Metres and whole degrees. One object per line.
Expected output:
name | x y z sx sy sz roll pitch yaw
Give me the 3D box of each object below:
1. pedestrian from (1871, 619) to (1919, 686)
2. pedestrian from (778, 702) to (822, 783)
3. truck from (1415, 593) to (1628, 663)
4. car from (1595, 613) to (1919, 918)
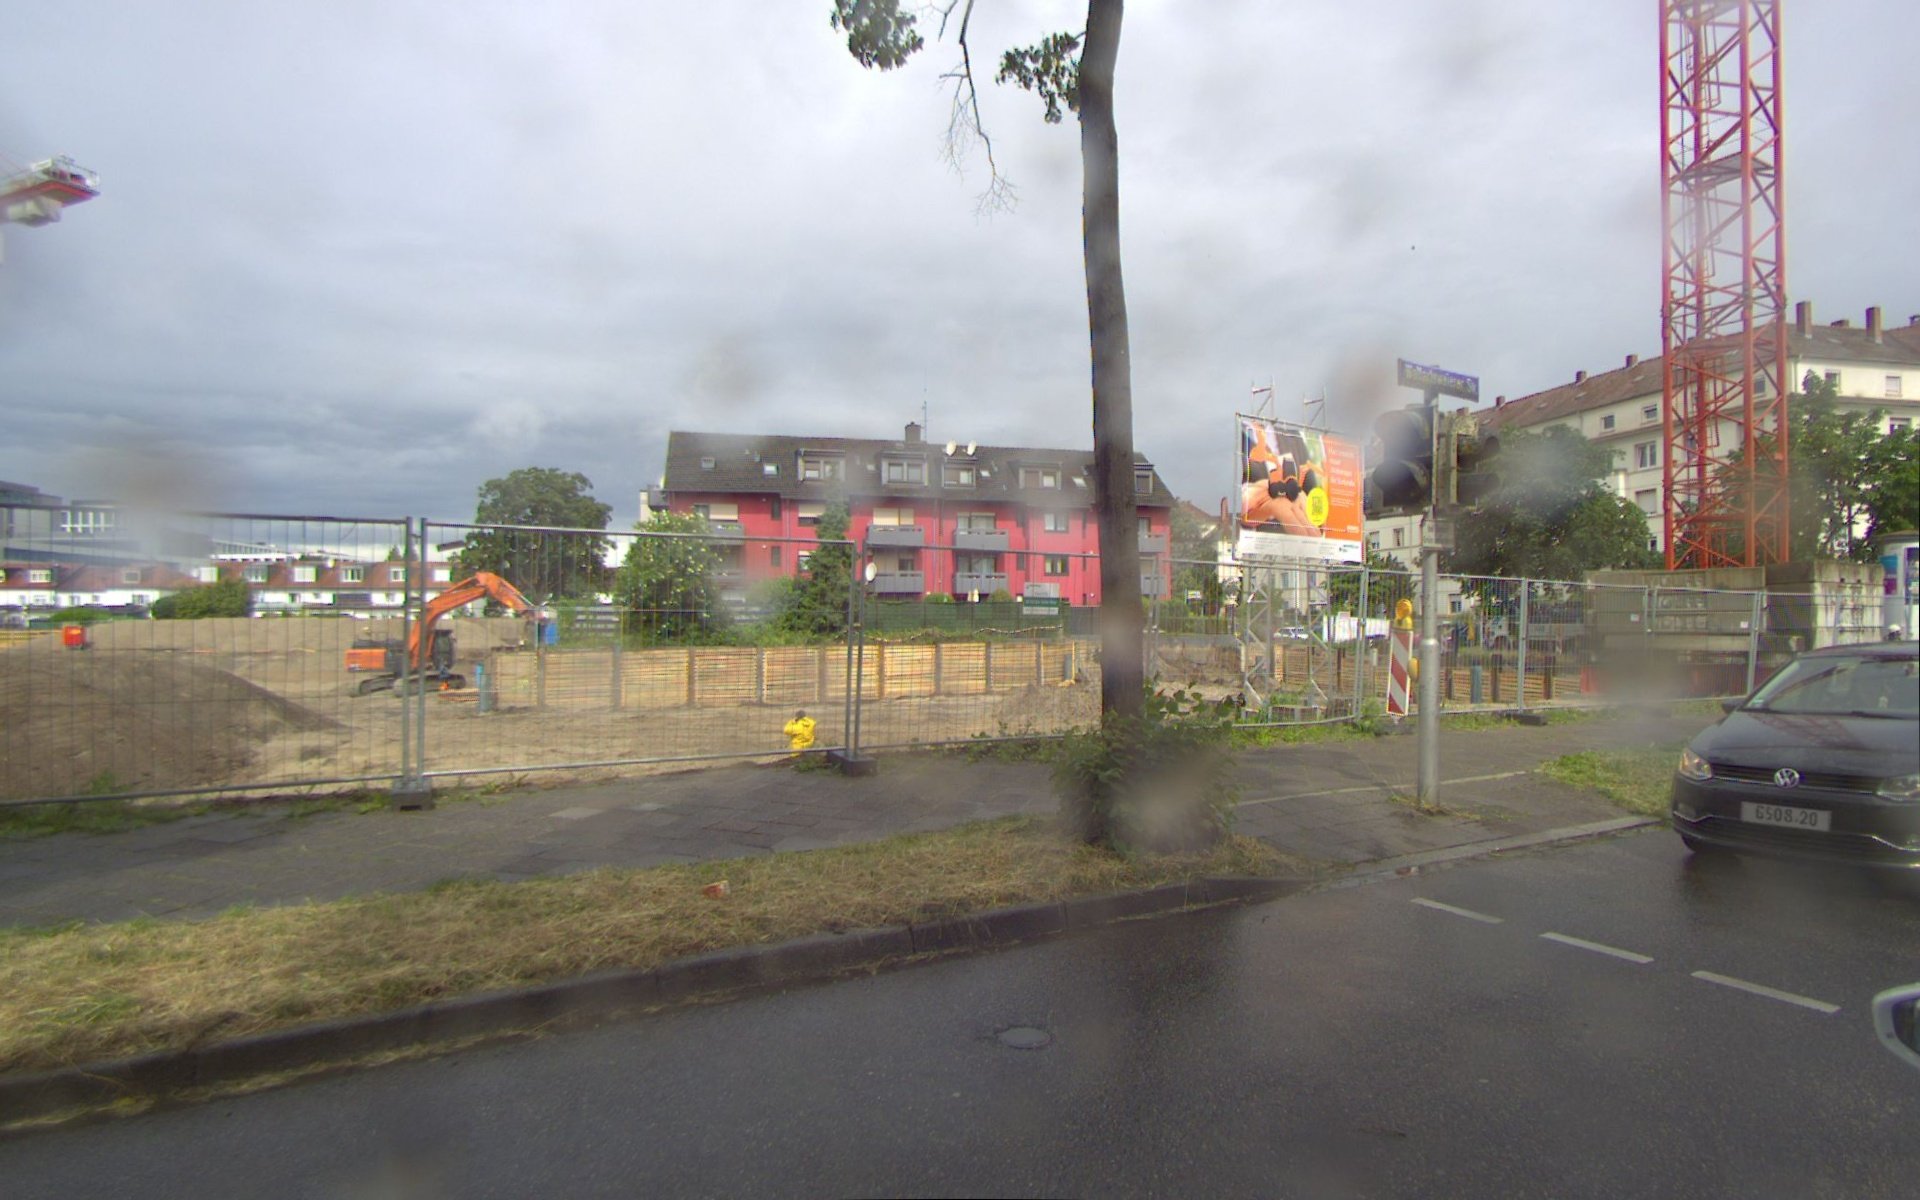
pedestrian | 23.725 1.319 25.455 0.710 1.651 0.684 1 0 23
pedestrian | -3.552 3.137 22.296 0.837 1.706 0.585 1 -4 -25
truck | 28.571 1.497 51.908 3.730 3.226 9.814 0 -2 -16
car | 6.361 0.878 6.782 3.932 1.561 1.806 0 -1 -28
